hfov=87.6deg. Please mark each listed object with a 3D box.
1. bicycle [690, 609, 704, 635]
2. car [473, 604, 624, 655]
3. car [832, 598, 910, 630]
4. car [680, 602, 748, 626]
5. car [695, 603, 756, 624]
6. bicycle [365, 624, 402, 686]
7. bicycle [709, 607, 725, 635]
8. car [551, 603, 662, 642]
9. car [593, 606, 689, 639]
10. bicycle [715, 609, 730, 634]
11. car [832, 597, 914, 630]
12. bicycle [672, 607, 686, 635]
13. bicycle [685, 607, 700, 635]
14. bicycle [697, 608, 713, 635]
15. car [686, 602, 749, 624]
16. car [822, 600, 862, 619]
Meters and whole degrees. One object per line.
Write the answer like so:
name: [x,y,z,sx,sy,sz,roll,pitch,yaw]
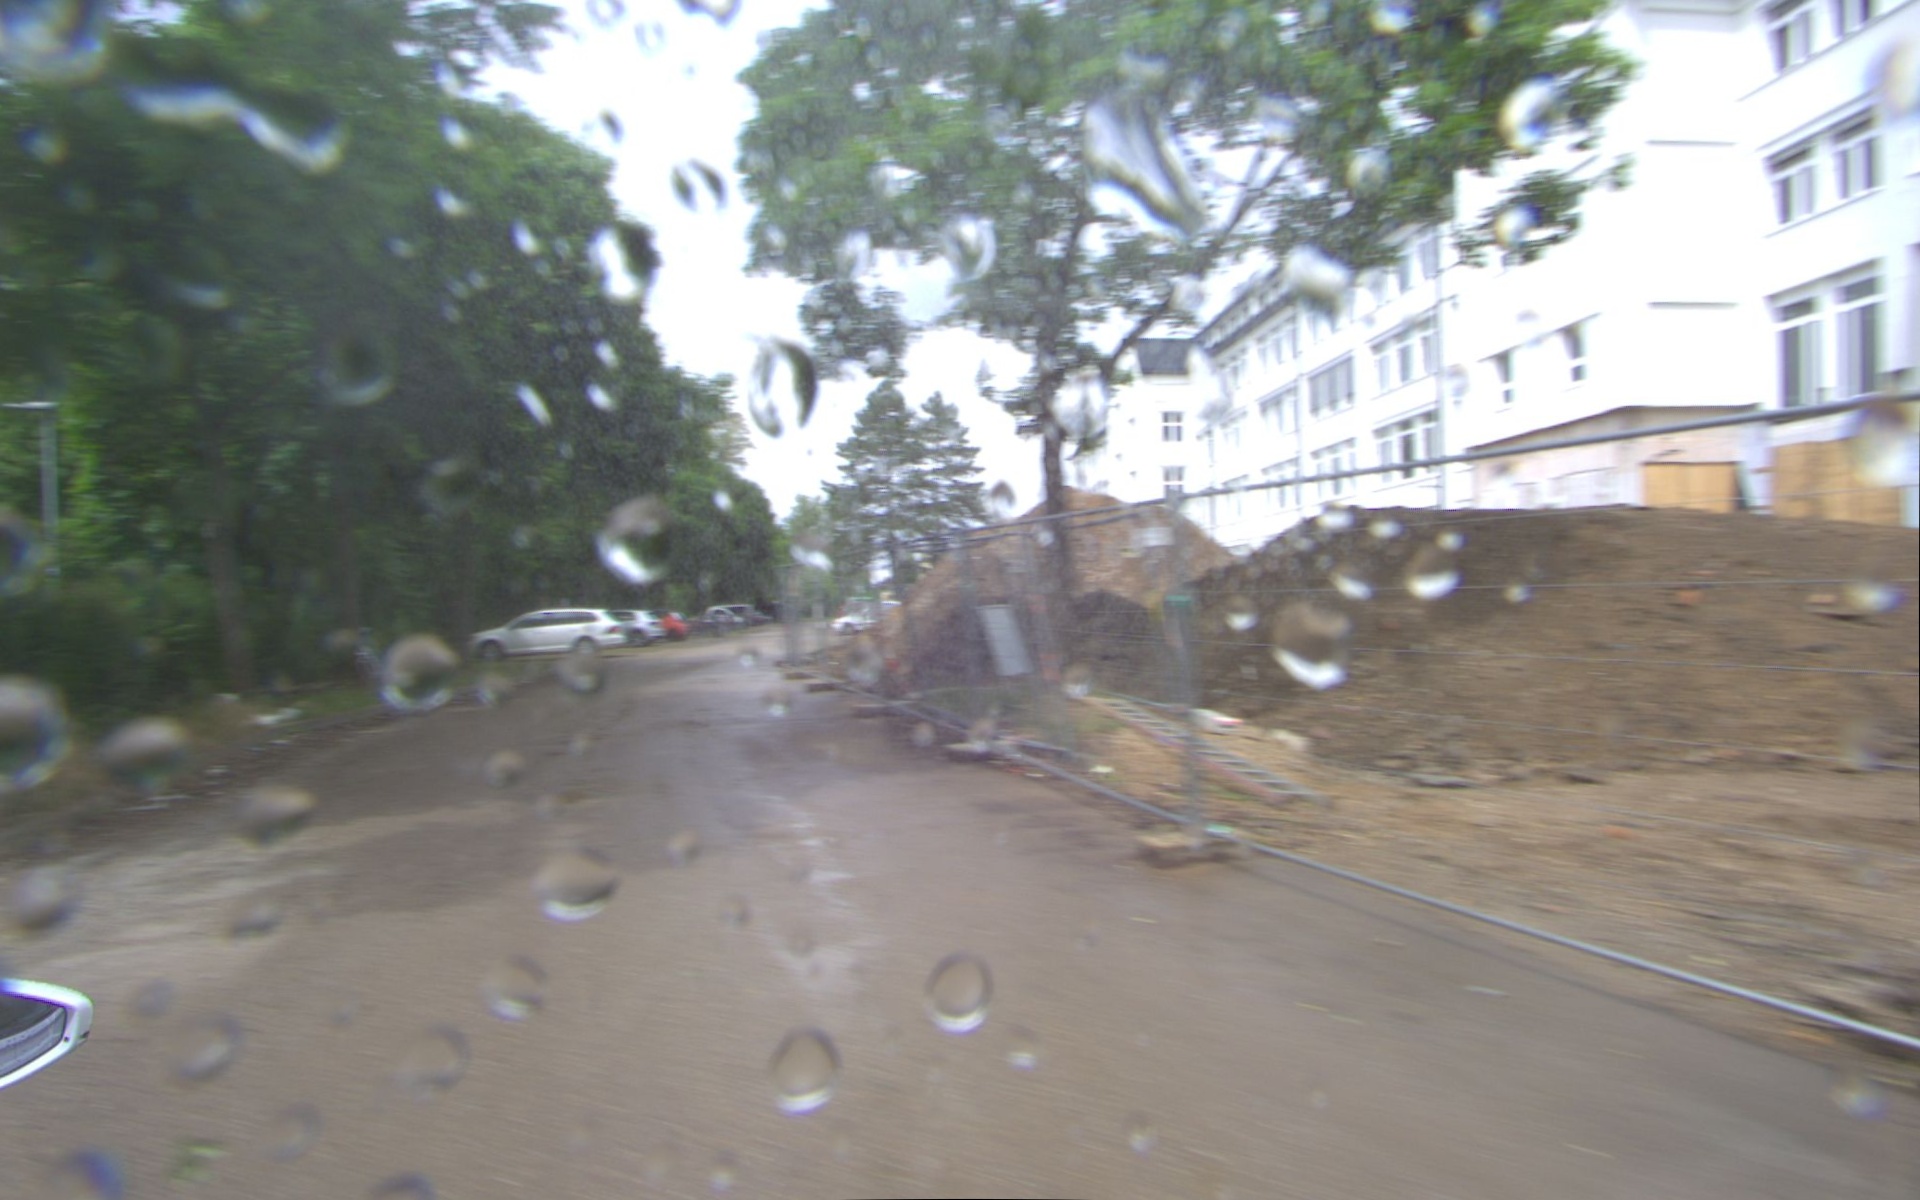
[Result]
bicycle: [-14.115,1.193,53.654,0.587,1.325,2.665,0,-2,-18]
car: [-12.158,0.883,29.862,3.976,1.427,1.979,0,-1,-17]
car: [-4.327,0.706,48.810,3.660,1.394,1.840,-2,-1,-6]
car: [-15.643,0.885,63.776,3.970,1.427,1.982,-1,-1,-6]
car: [-16.599,0.975,71.088,3.970,1.427,1.982,-1,-1,-6]
bicycle: [-9.079,0.841,15.795,0.461,0.891,1.562,0,0,-28]
bicycle: [-12.144,1.057,50.011,0.587,1.325,2.665,0,-2,-18]
car: [-13.660,0.884,38.935,3.976,1.427,1.979,0,-1,-17]
car: [-14.142,0.998,44.620,3.976,1.427,1.979,0,-1,-17]
bicycle: [-12.836,1.193,54.150,0.587,1.325,2.665,0,-2,-18]
car: [-4.017,0.625,46.302,3.660,1.394,1.840,-2,-1,-6]
bicycle: [-13.872,1.067,49.410,0.587,1.325,2.665,0,-2,-18]
bicycle: [-13.279,1.059,49.611,0.587,1.325,2.665,0,-2,-18]
bicycle: [-12.703,1.071,49.808,0.587,1.283,2.665,0,-2,-18]
car: [-16.548,0.867,68.417,3.970,1.427,1.982,-1,-1,-6]
car: [-11.180,0.934,94.836,3.660,1.621,1.839,-2,-1,-6]
